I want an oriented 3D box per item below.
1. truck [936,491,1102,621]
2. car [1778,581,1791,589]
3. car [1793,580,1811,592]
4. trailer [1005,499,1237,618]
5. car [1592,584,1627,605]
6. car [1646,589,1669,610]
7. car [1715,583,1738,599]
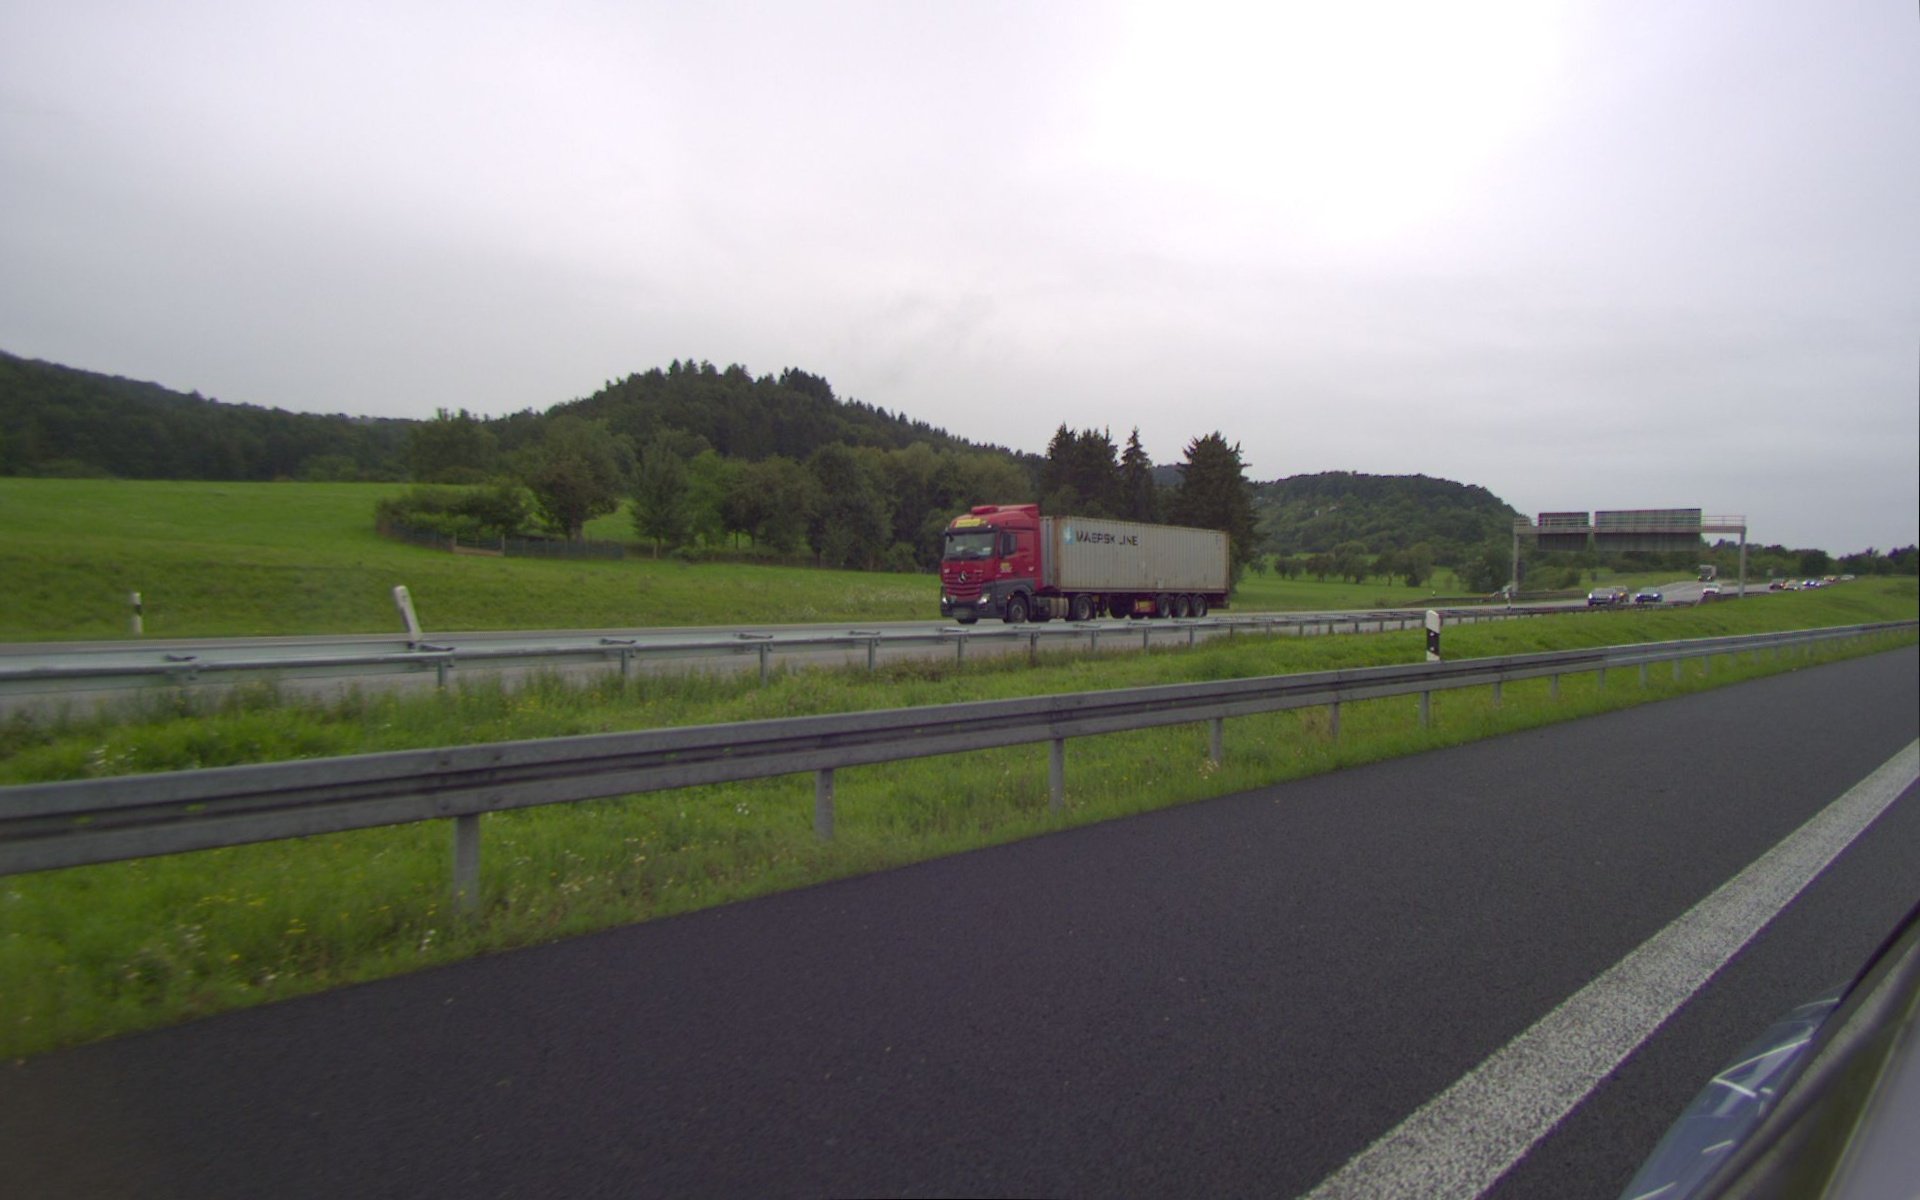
[{"bbox_3d":[2.125,-1.385,34.554,2.507,4.037,5.835,-1,0,43],"label":"truck"},{"bbox_3d":[152.850,-2.786,187.546,1.580,1.571,3.937,0,0,43],"label":"car"},{"bbox_3d":[145.502,-2.362,174.857,3.931,2.039,1.732,0,0,-42],"label":"car"},{"bbox_3d":[6.675,-1.435,39.394,2.490,4.034,12.211,-1,0,43],"label":"trailer"},{"bbox_3d":[56.211,-0.525,87.539,1.992,1.742,4.255,2,1,41],"label":"car"},{"bbox_3d":[70.930,-0.063,102.918,1.646,2.039,3.943,2,1,39],"label":"car"},{"bbox_3d":[105.830,-1.251,139.703,1.994,2.039,3.936,2,1,45],"label":"car"}]
